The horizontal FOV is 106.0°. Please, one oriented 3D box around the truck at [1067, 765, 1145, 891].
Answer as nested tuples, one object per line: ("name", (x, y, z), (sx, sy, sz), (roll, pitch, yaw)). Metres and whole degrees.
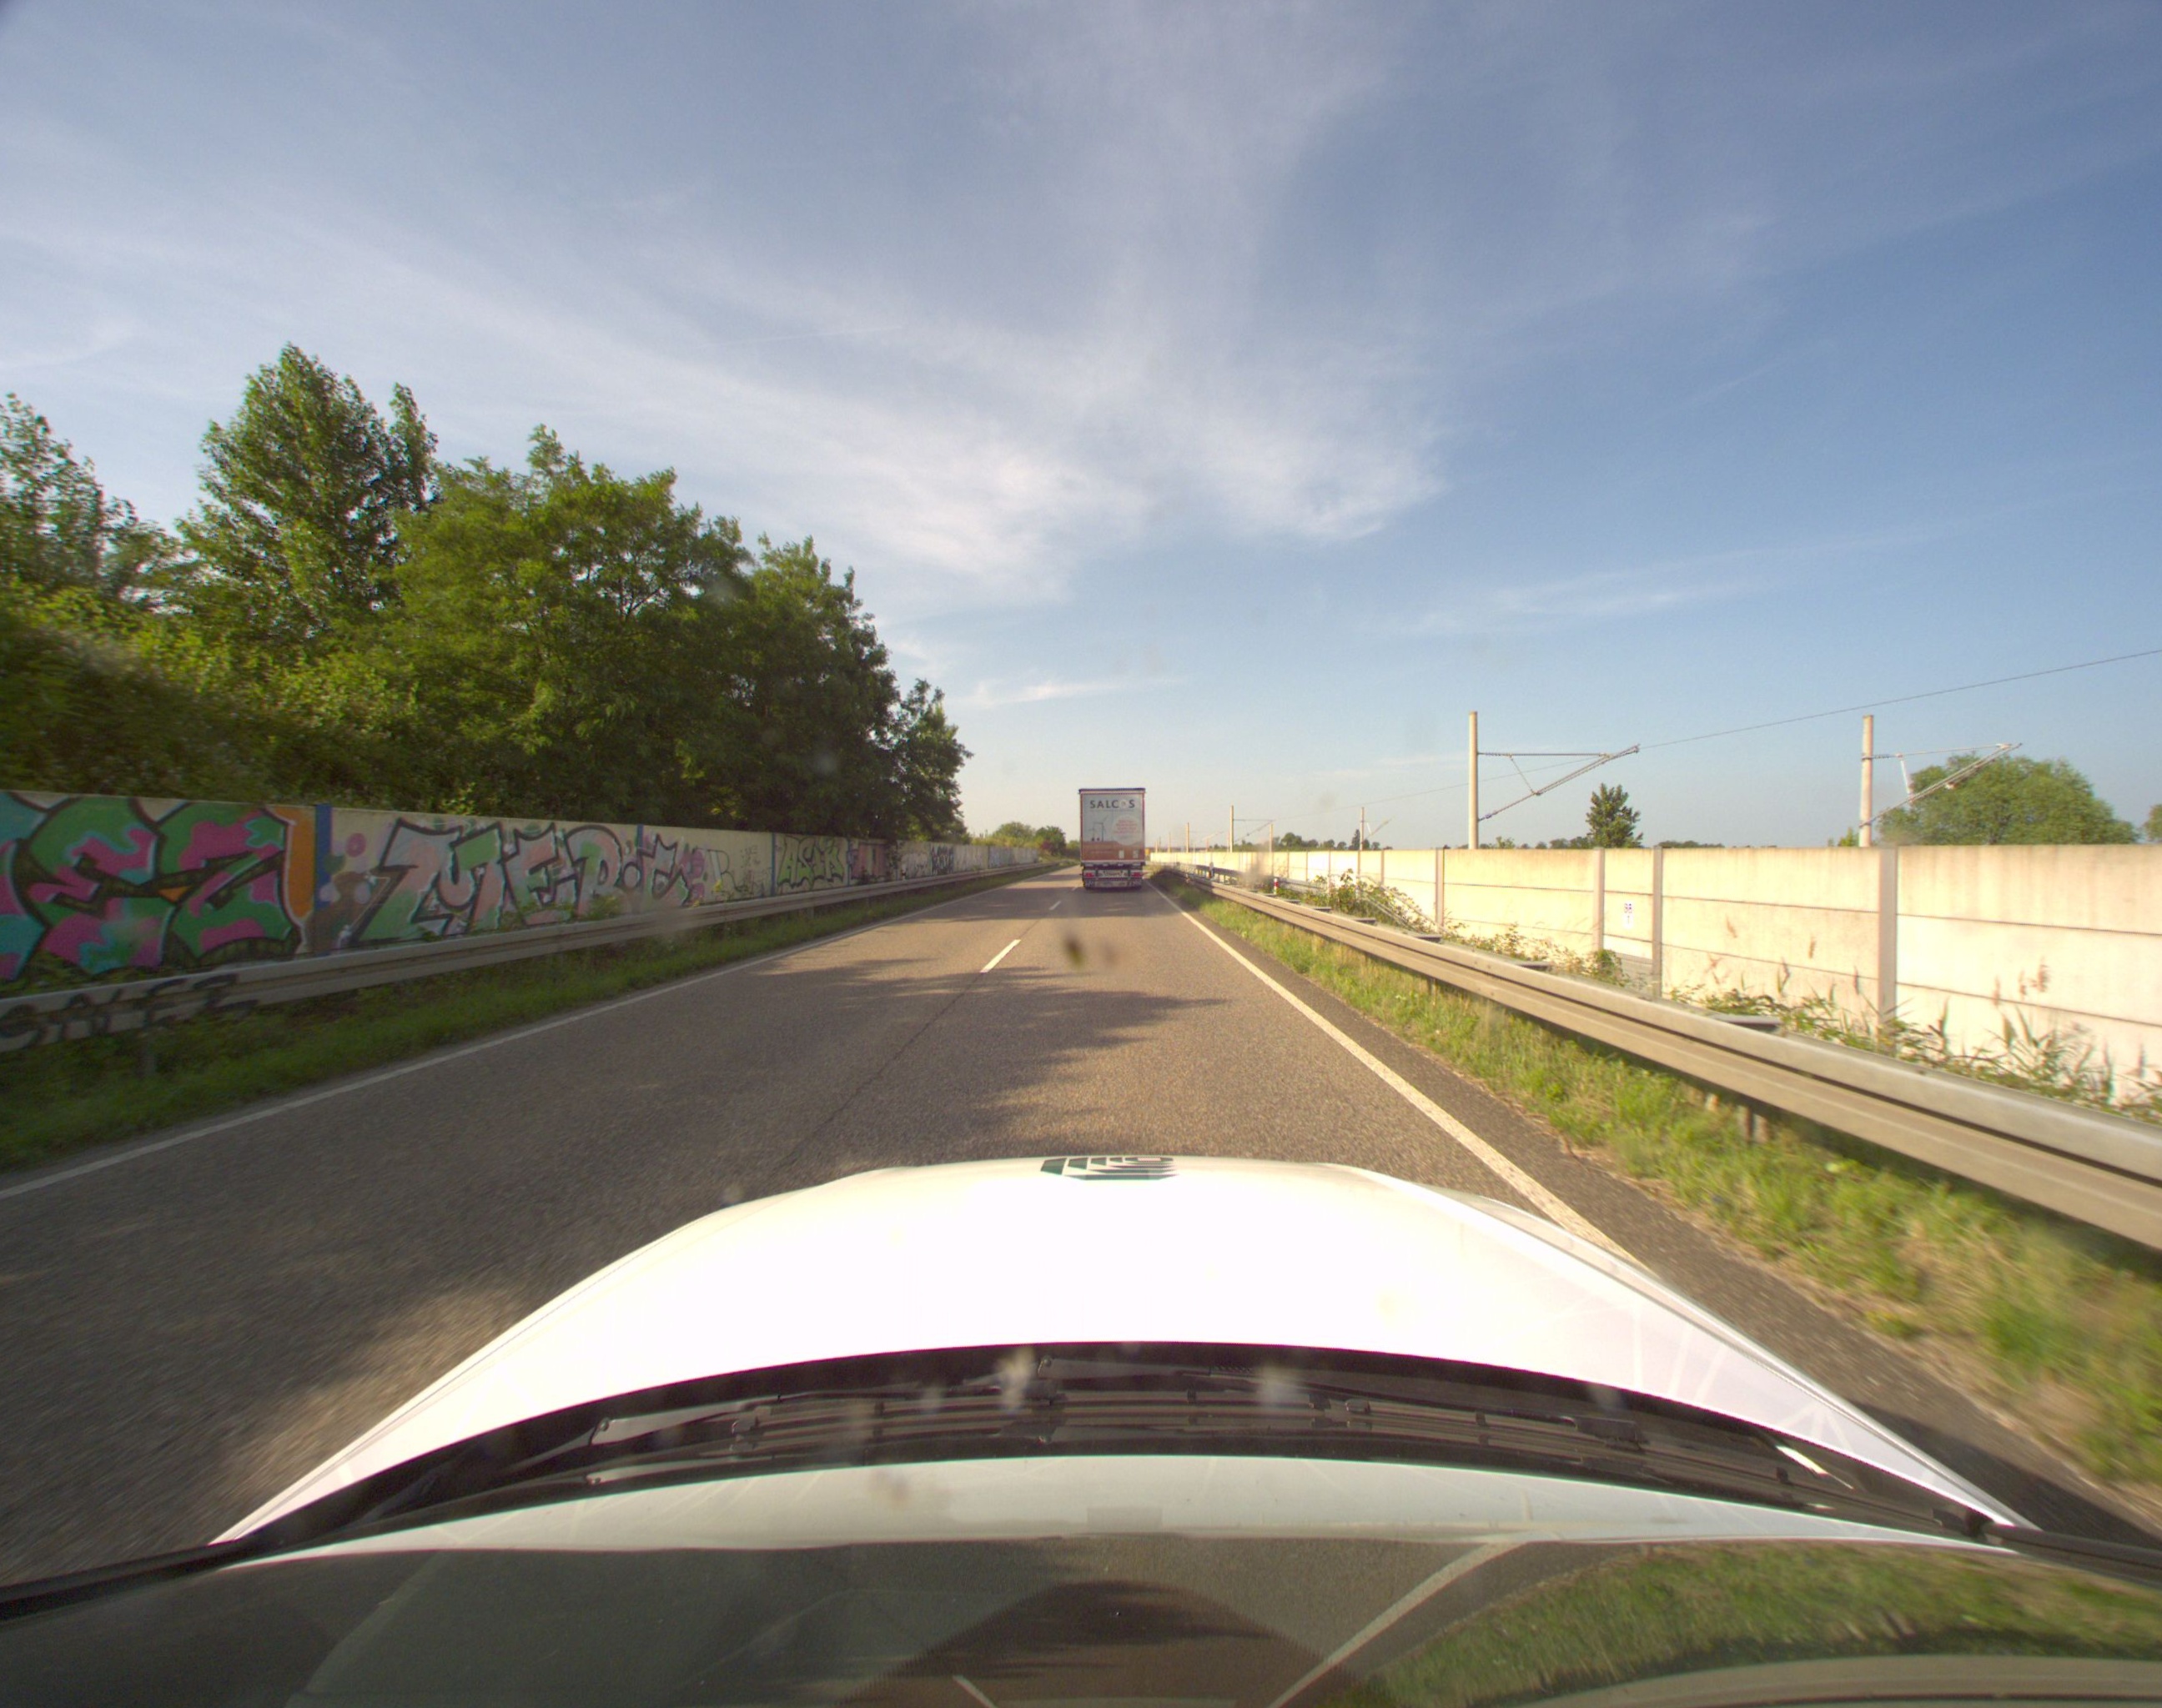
("truck", (1.139, -0.986, 37.569), (3.022, 4.920, 11.687), (0, 0, 2))
